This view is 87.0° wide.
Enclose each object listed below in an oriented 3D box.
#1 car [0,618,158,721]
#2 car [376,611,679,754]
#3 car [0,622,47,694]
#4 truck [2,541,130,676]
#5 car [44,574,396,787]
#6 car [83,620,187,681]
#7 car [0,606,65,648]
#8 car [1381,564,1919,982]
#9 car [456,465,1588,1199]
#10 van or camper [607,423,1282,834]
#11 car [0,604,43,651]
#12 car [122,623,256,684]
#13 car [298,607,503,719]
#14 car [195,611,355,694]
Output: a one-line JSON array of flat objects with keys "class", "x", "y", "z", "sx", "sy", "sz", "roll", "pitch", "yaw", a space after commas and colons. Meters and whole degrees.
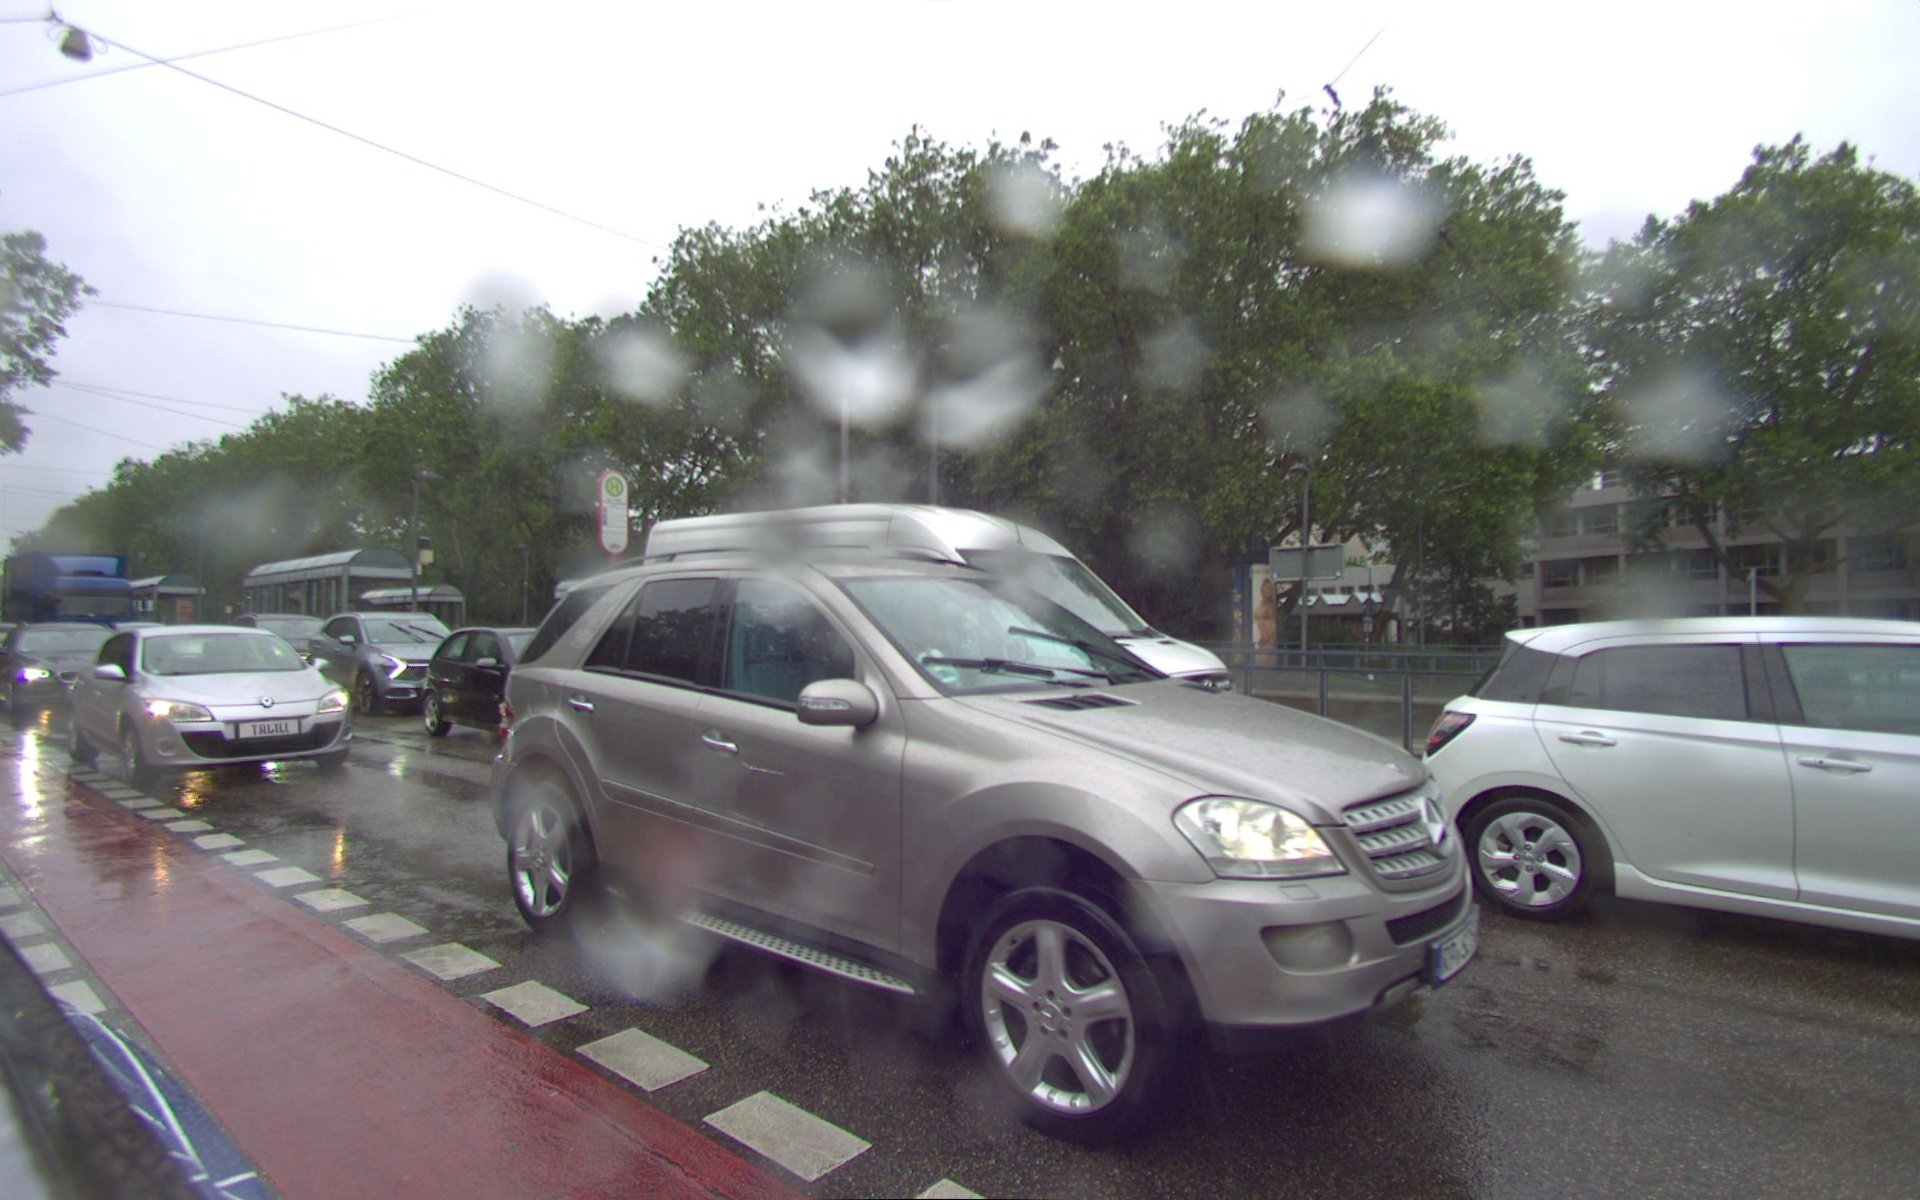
[{"class": "car", "x": -15.689, "y": 1.158, "z": 17.760, "sx": 4.667, "sy": 1.561, "sz": 1.887, "roll": -3, "pitch": -2, "yaw": 43}, {"class": "car", "x": -5.709, "y": 0.976, "z": 13.058, "sx": 4.553, "sy": 1.525, "sz": 1.763, "roll": -3, "pitch": -2, "yaw": 41}, {"class": "car", "x": -24.191, "y": 1.446, "z": 25.167, "sx": 4.191, "sy": 1.659, "sz": 1.887, "roll": -3, "pitch": -2, "yaw": 43}, {"class": "truck", "x": -31.788, "y": 0.416, "z": 35.854, "sx": 8.349, "sy": 4.309, "sz": 2.386, "roll": -3, "pitch": -2, "yaw": 41}, {"class": "car", "x": -7.758, "y": 0.744, "z": 10.465, "sx": 4.263, "sy": 1.755, "sz": 1.951, "roll": -3, "pitch": -2, "yaw": 39}, {"class": "car", "x": -24.413, "y": 1.475, "z": 29.893, "sx": 4.191, "sy": 1.659, "sz": 1.887, "roll": -3, "pitch": -2, "yaw": 44}, {"class": "car", "x": -40.673, "y": 1.147, "z": 44.136, "sx": 3.998, "sy": 1.728, "sz": 1.973, "roll": -1, "pitch": 0, "yaw": 41}, {"class": "car", "x": 4.297, "y": 0.675, "z": 4.518, "sx": 4.074, "sy": 1.599, "sz": 1.782, "roll": -3, "pitch": -3, "yaw": 43}, {"class": "car", "x": -0.179, "y": 0.628, "z": 4.381, "sx": 4.676, "sy": 1.659, "sz": 1.889, "roll": -3, "pitch": -2, "yaw": 40}, {"class": "van or camper", "x": -0.513, "y": 0.276, "z": 8.891, "sx": 5.965, "sy": 2.490, "sz": 2.153, "roll": -2, "pitch": -2, "yaw": 40}, {"class": "car", "x": -46.386, "y": 1.307, "z": 49.129, "sx": 5.453, "sy": 2.166, "sz": 2.313, "roll": -1, "pitch": 0, "yaw": 43}, {"class": "car", "x": -19.814, "y": 1.364, "z": 25.962, "sx": 4.187, "sy": 1.418, "sz": 1.889, "roll": -3, "pitch": -2, "yaw": 40}, {"class": "car", "x": -9.549, "y": 1.016, "z": 17.119, "sx": 4.247, "sy": 1.647, "sz": 1.823, "roll": -3, "pitch": -2, "yaw": 43}, {"class": "car", "x": -15.248, "y": 1.135, "z": 22.440, "sx": 4.187, "sy": 1.659, "sz": 1.889, "roll": -3, "pitch": -2, "yaw": 40}]
